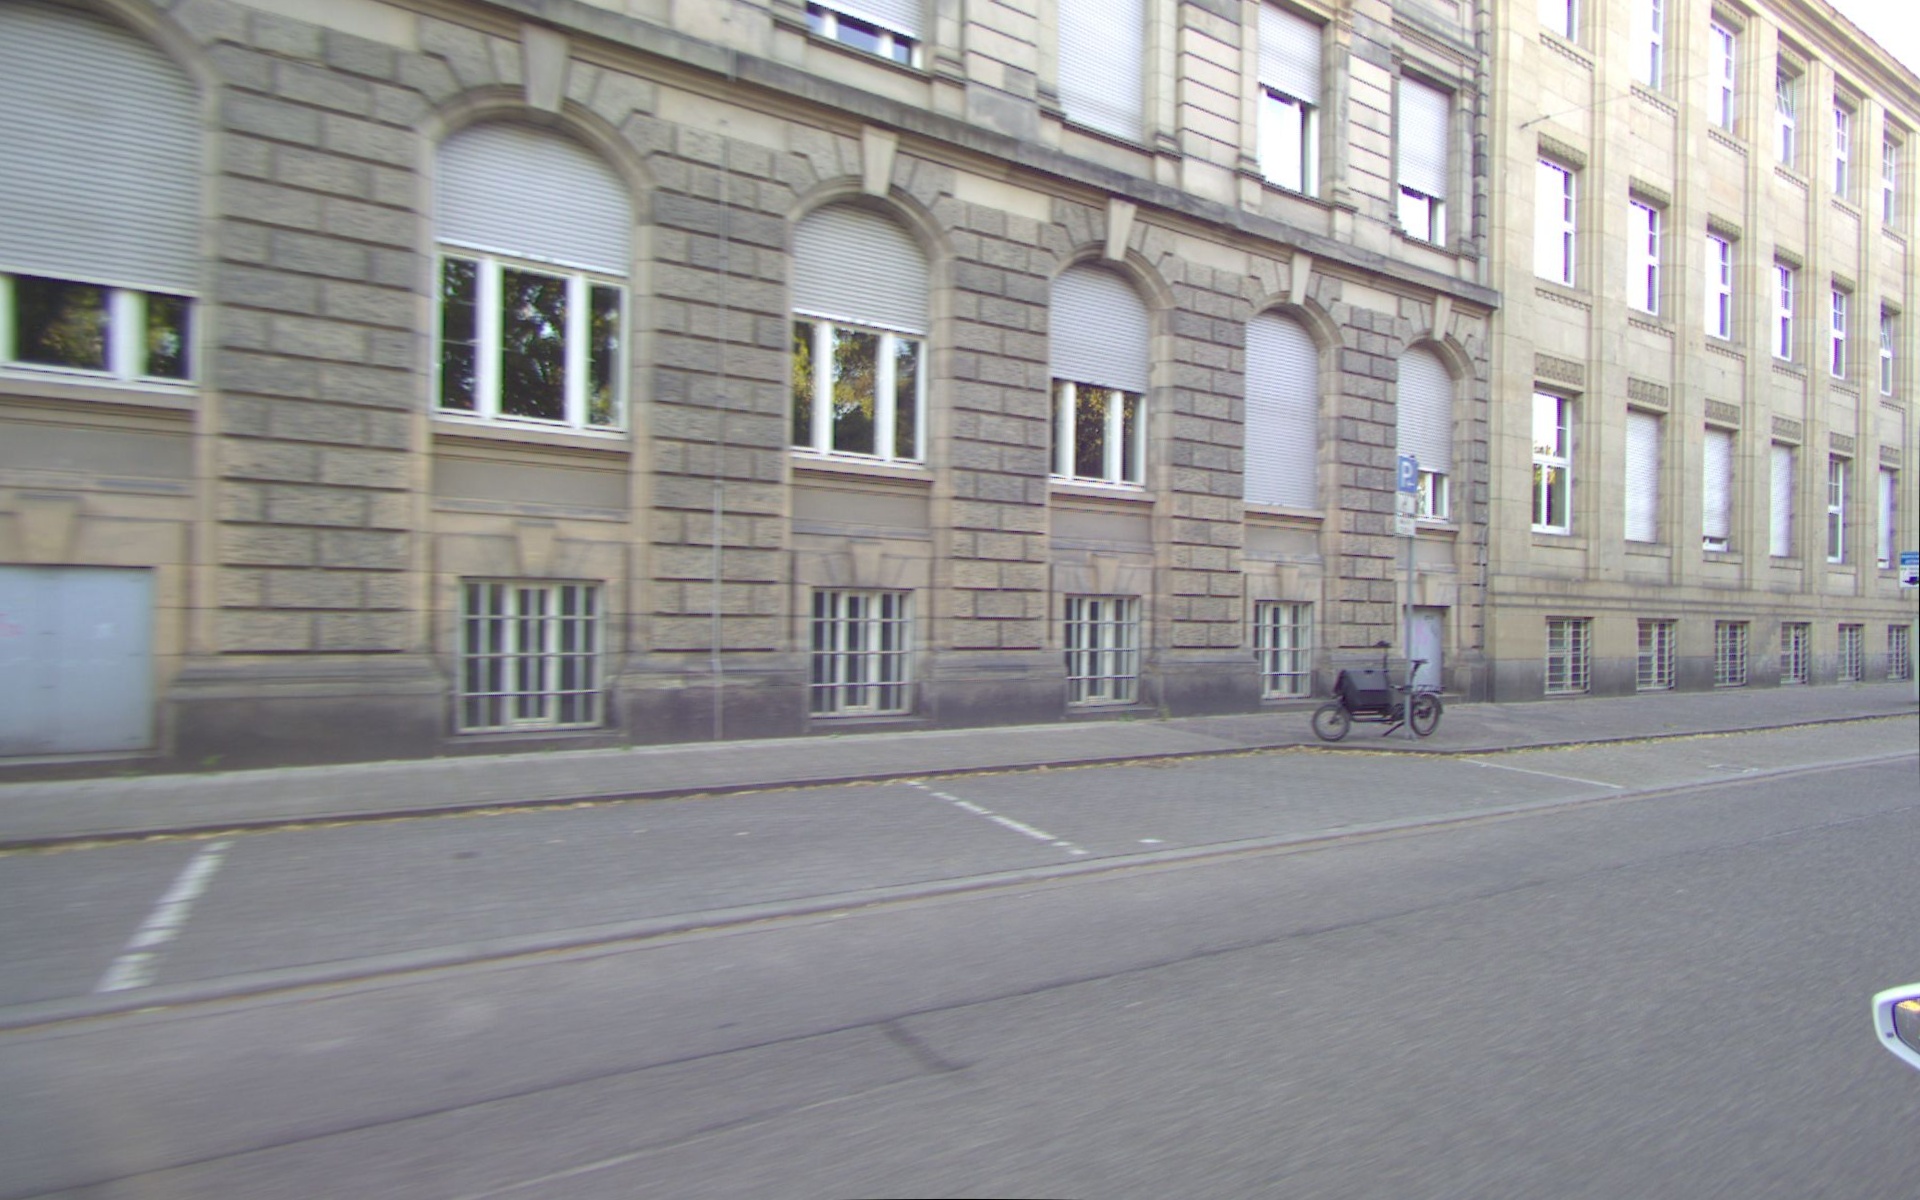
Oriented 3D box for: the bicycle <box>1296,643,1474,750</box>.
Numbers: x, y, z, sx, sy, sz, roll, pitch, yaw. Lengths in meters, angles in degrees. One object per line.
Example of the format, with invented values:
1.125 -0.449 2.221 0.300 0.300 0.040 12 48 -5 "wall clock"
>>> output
4.973 1.082 11.741 1.957 1.116 0.849 1 1 -28 "bicycle"
